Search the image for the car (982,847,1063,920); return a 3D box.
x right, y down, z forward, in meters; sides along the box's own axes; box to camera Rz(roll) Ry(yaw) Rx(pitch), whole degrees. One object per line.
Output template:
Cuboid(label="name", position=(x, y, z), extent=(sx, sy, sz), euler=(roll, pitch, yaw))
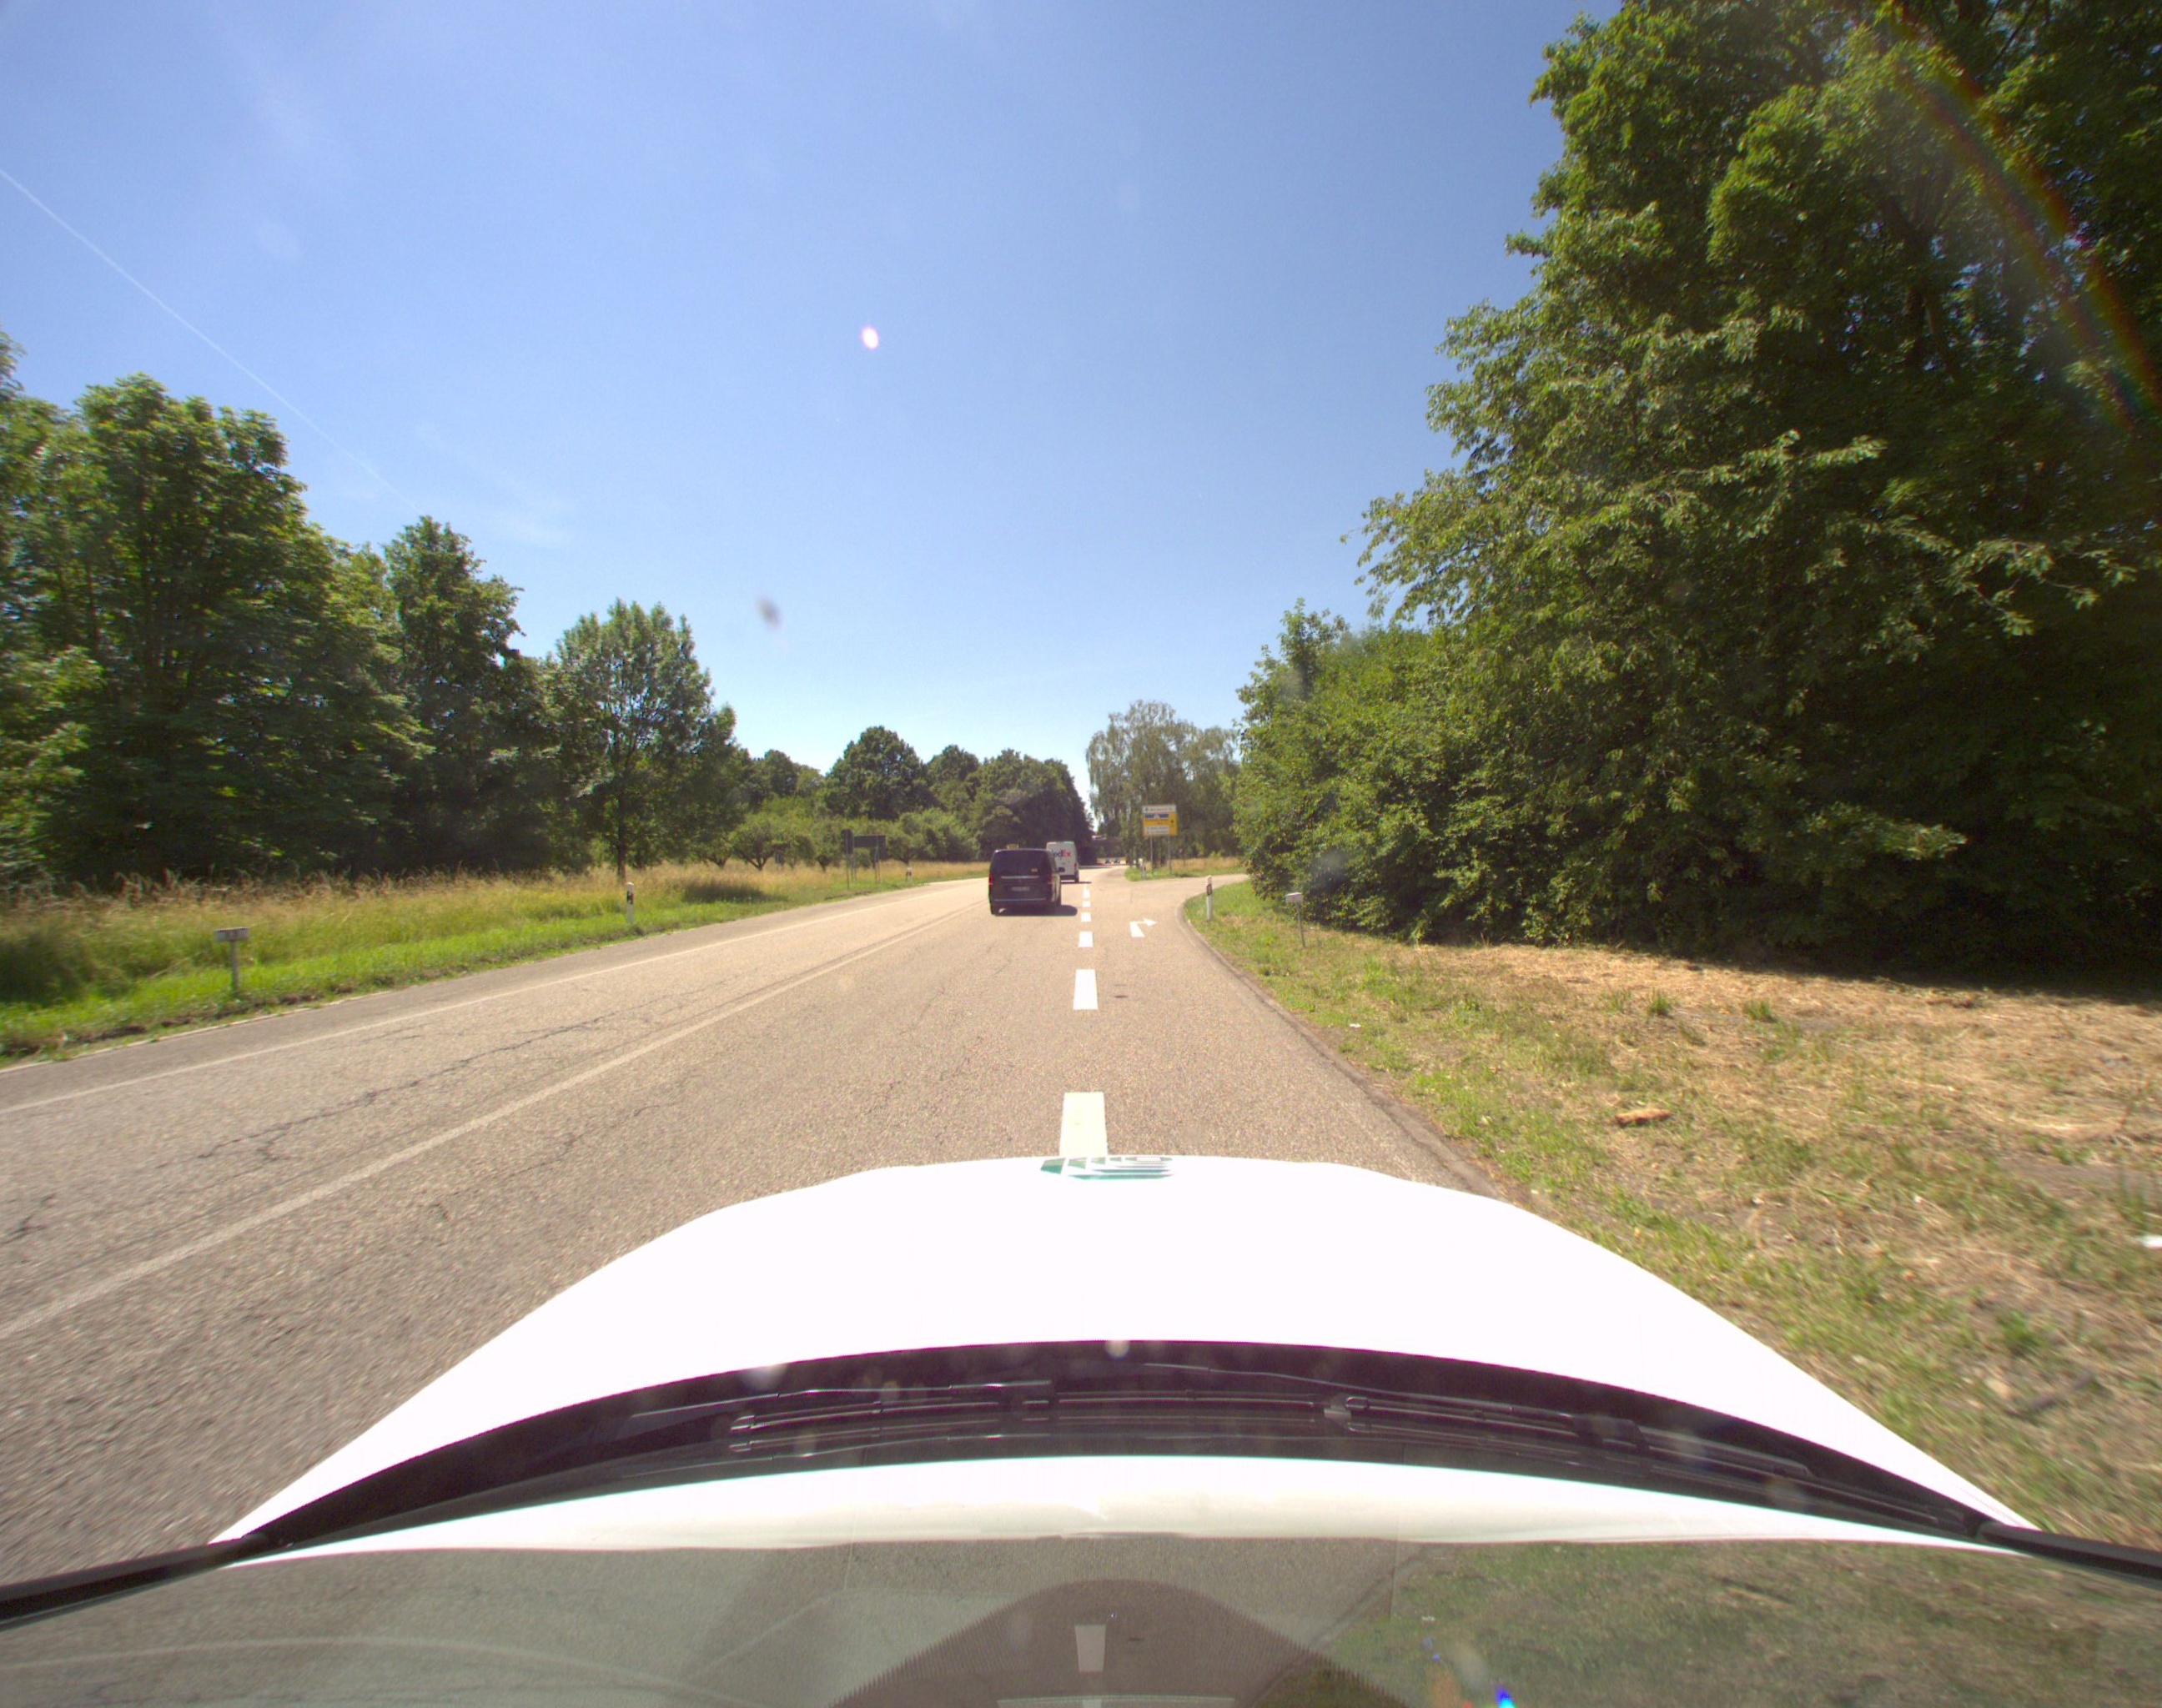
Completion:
Cuboid(label="car", position=(-1.642, 0.815, 24.505), extent=(1.987, 1.952, 5.005), euler=(0, -1, 1))

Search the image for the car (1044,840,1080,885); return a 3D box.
Cuboid(label="car", position=(-1.136, 0.529, 51.291), extent=(2.071, 2.702, 4.666), euler=(0, -1, 1))

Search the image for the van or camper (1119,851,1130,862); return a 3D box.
Cuboid(label="van or camper", position=(12.244, 0.708, 228.919), extent=(2.623, 2.929, 5.205), euler=(0, -1, 0))
